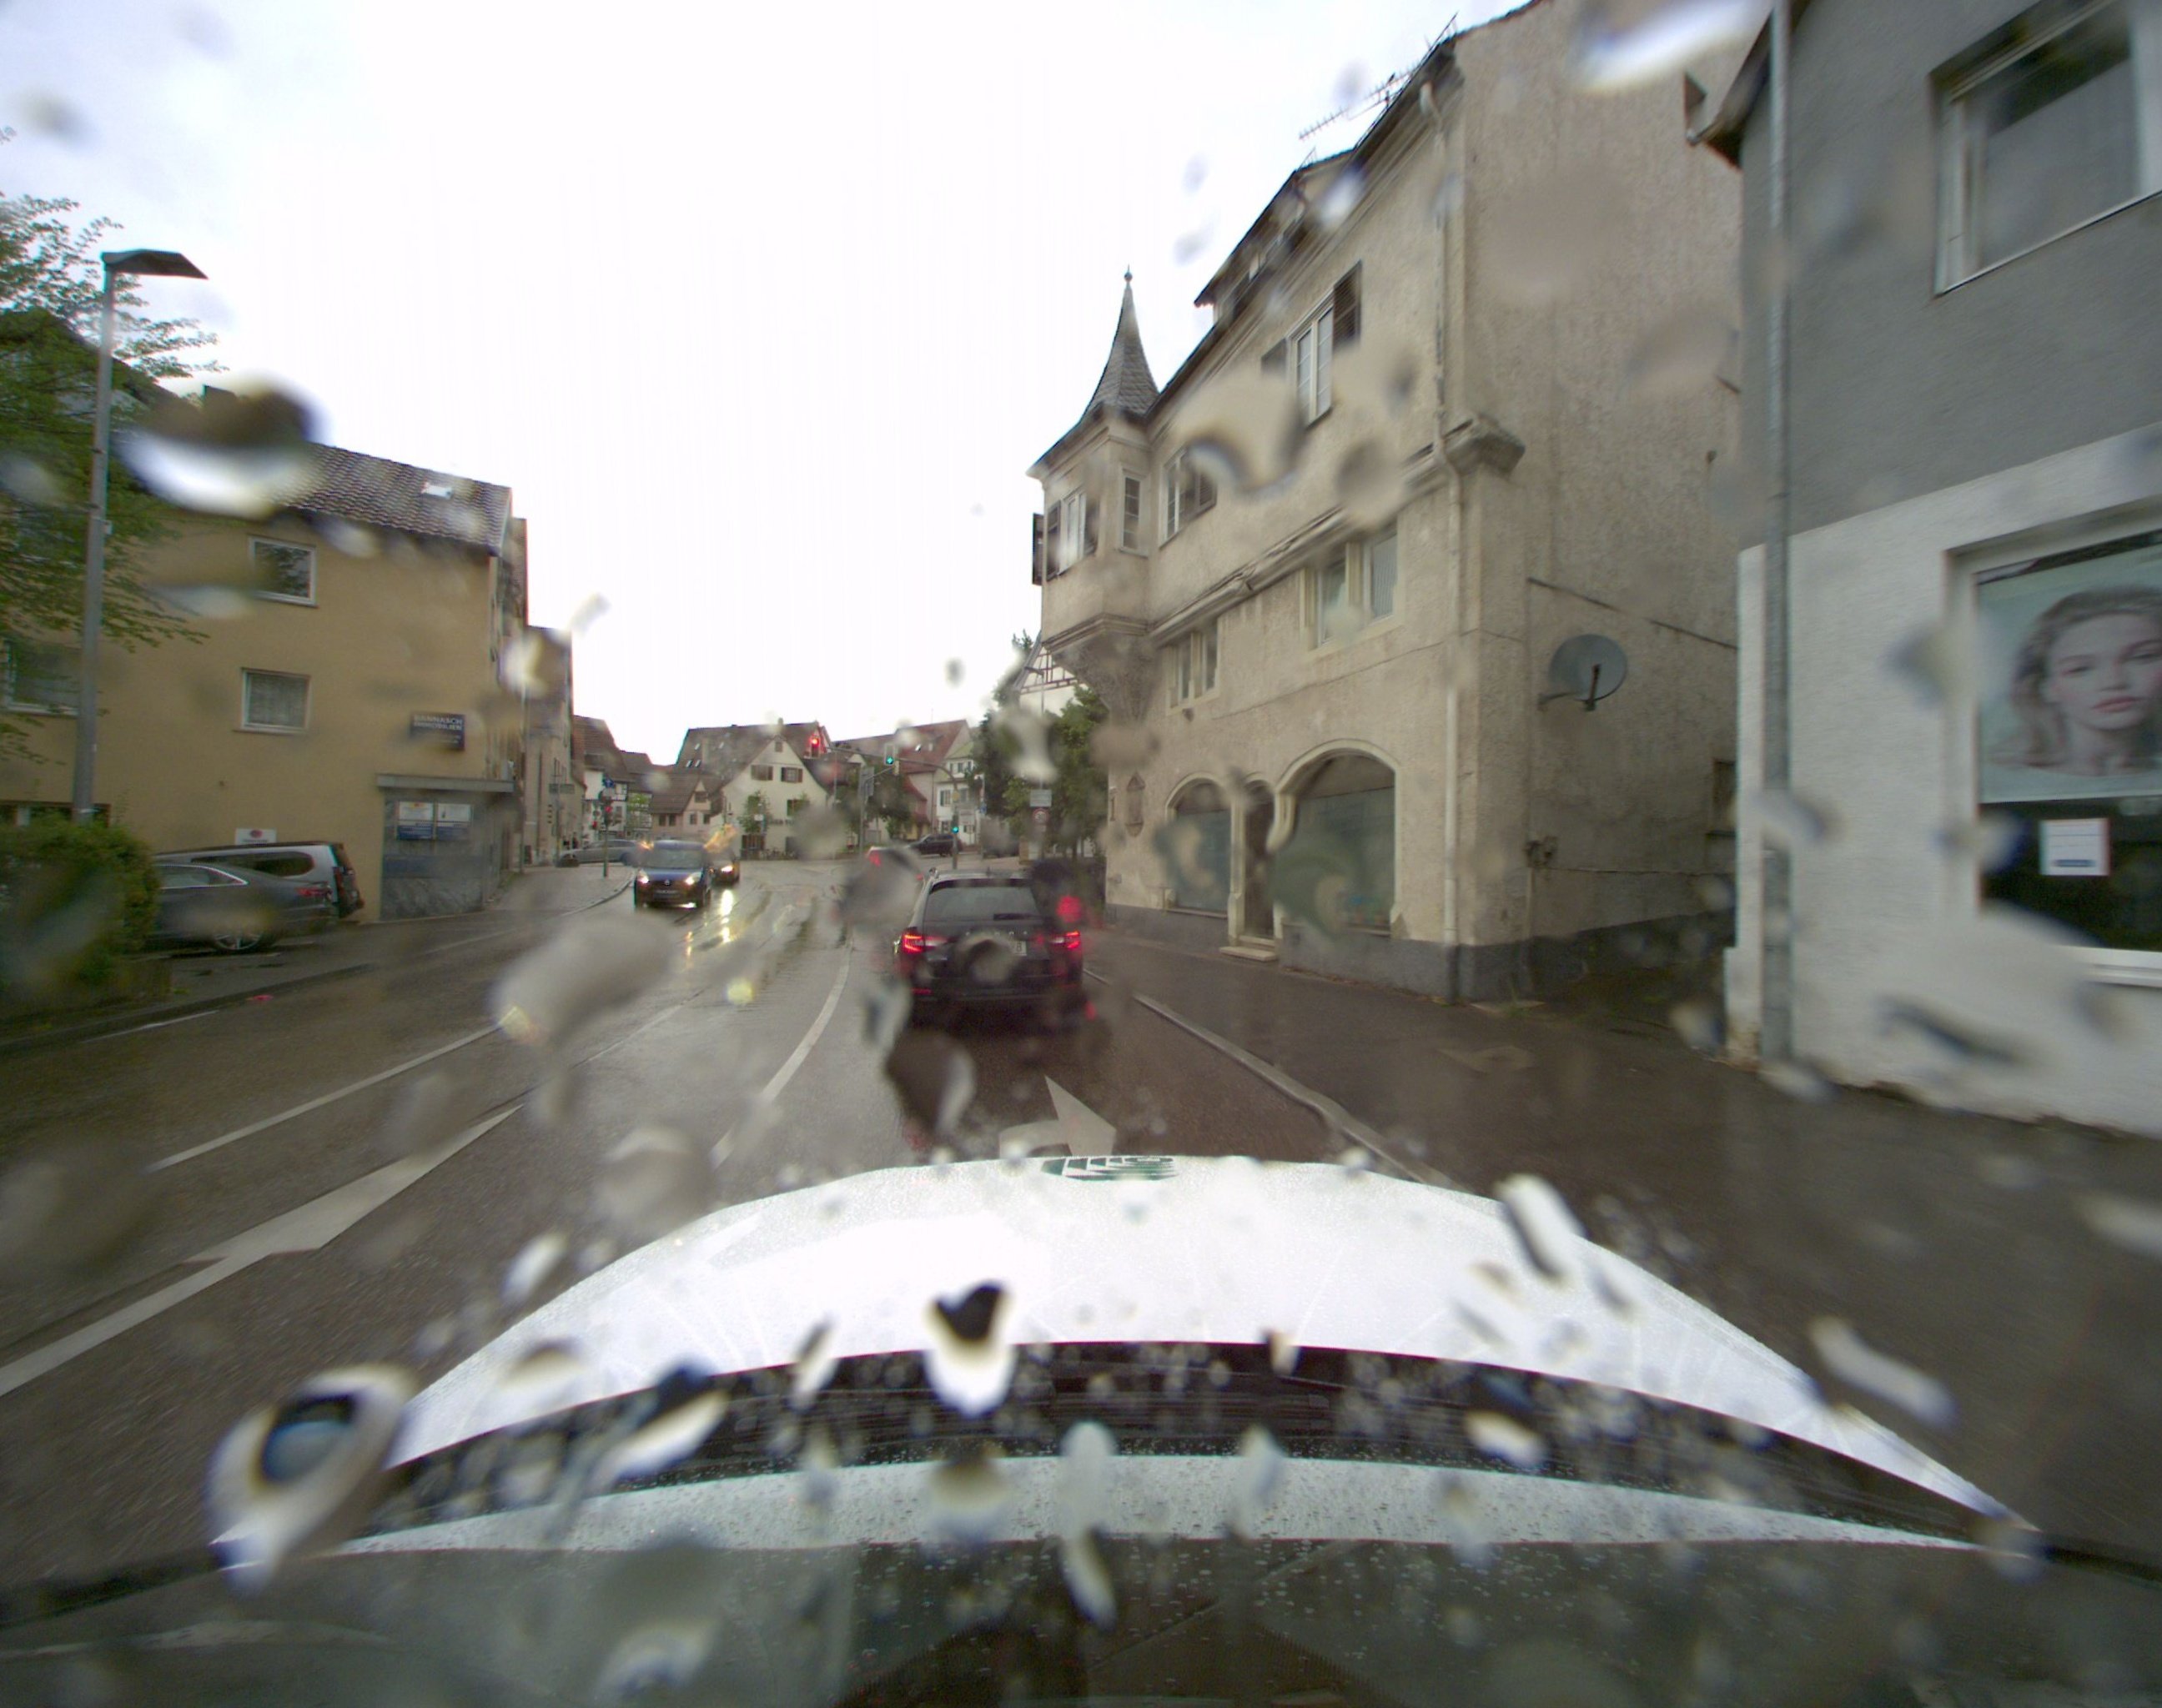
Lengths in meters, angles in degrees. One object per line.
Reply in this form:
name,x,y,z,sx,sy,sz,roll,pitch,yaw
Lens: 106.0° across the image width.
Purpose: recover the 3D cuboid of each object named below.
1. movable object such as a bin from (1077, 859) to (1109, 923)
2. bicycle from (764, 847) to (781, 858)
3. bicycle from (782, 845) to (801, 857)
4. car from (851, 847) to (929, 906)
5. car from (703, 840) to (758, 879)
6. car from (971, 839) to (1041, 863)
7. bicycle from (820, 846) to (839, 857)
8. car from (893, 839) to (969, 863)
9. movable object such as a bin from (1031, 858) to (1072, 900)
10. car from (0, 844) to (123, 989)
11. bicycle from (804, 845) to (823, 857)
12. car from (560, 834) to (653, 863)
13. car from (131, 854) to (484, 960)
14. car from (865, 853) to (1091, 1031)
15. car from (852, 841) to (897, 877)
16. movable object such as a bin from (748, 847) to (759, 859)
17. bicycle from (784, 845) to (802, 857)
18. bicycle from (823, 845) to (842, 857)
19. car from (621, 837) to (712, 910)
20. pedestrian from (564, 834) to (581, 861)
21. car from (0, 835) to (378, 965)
movable object such as a bin,0.279,0.844,18.984,0.415,1.442,0.636,0,1,-41
bicycle,-23.538,-0.120,62.067,0.334,0.818,1.444,4,2,19
bicycle,-22.614,-0.270,63.580,0.388,0.912,1.479,1,1,28
car,-6.242,0.642,26.322,1.864,1.472,3.973,-3,5,-21
car,-13.922,0.183,32.347,1.869,1.387,4.229,1,1,-24
car,-4.868,-0.200,52.913,4.016,1.302,1.978,4,-1,-36
bicycle,-20.499,-0.219,66.432,0.388,0.912,1.479,5,3,40
car,-10.258,-0.176,55.835,4.762,1.588,1.813,0,1,-30
movable object such as a bin,-0.956,0.792,26.465,1.155,1.313,1.182,1,0,-11
car,-13.655,0.689,9.062,3.666,1.629,1.976,1,-1,-44
bicycle,-21.414,-0.259,65.183,0.388,0.912,1.479,5,3,40
car,-27.074,-0.338,46.630,4.489,1.591,1.982,-1,0,-27
car,-12.441,0.757,13.510,4.020,1.453,1.878,0,1,-39
car,-1.278,0.789,8.991,1.888,1.448,4.338,1,-2,-12
car,-10.001,0.209,39.284,1.889,1.596,4.301,1,1,-17
movable object such as a bin,-25.146,-0.110,62.490,0.577,0.901,0.592,2,1,42
bicycle,-22.322,-0.240,63.152,0.388,0.912,1.479,1,1,28
bicycle,-20.204,-0.221,66.133,0.388,0.912,1.479,5,3,40
car,-11.786,0.459,23.406,2.002,1.881,4.345,1,1,-23
pedestrian,-35.338,-0.444,56.577,0.705,1.830,0.804,1,4,42
car,-17.045,0.740,15.735,4.957,1.824,1.942,-6,5,-36
